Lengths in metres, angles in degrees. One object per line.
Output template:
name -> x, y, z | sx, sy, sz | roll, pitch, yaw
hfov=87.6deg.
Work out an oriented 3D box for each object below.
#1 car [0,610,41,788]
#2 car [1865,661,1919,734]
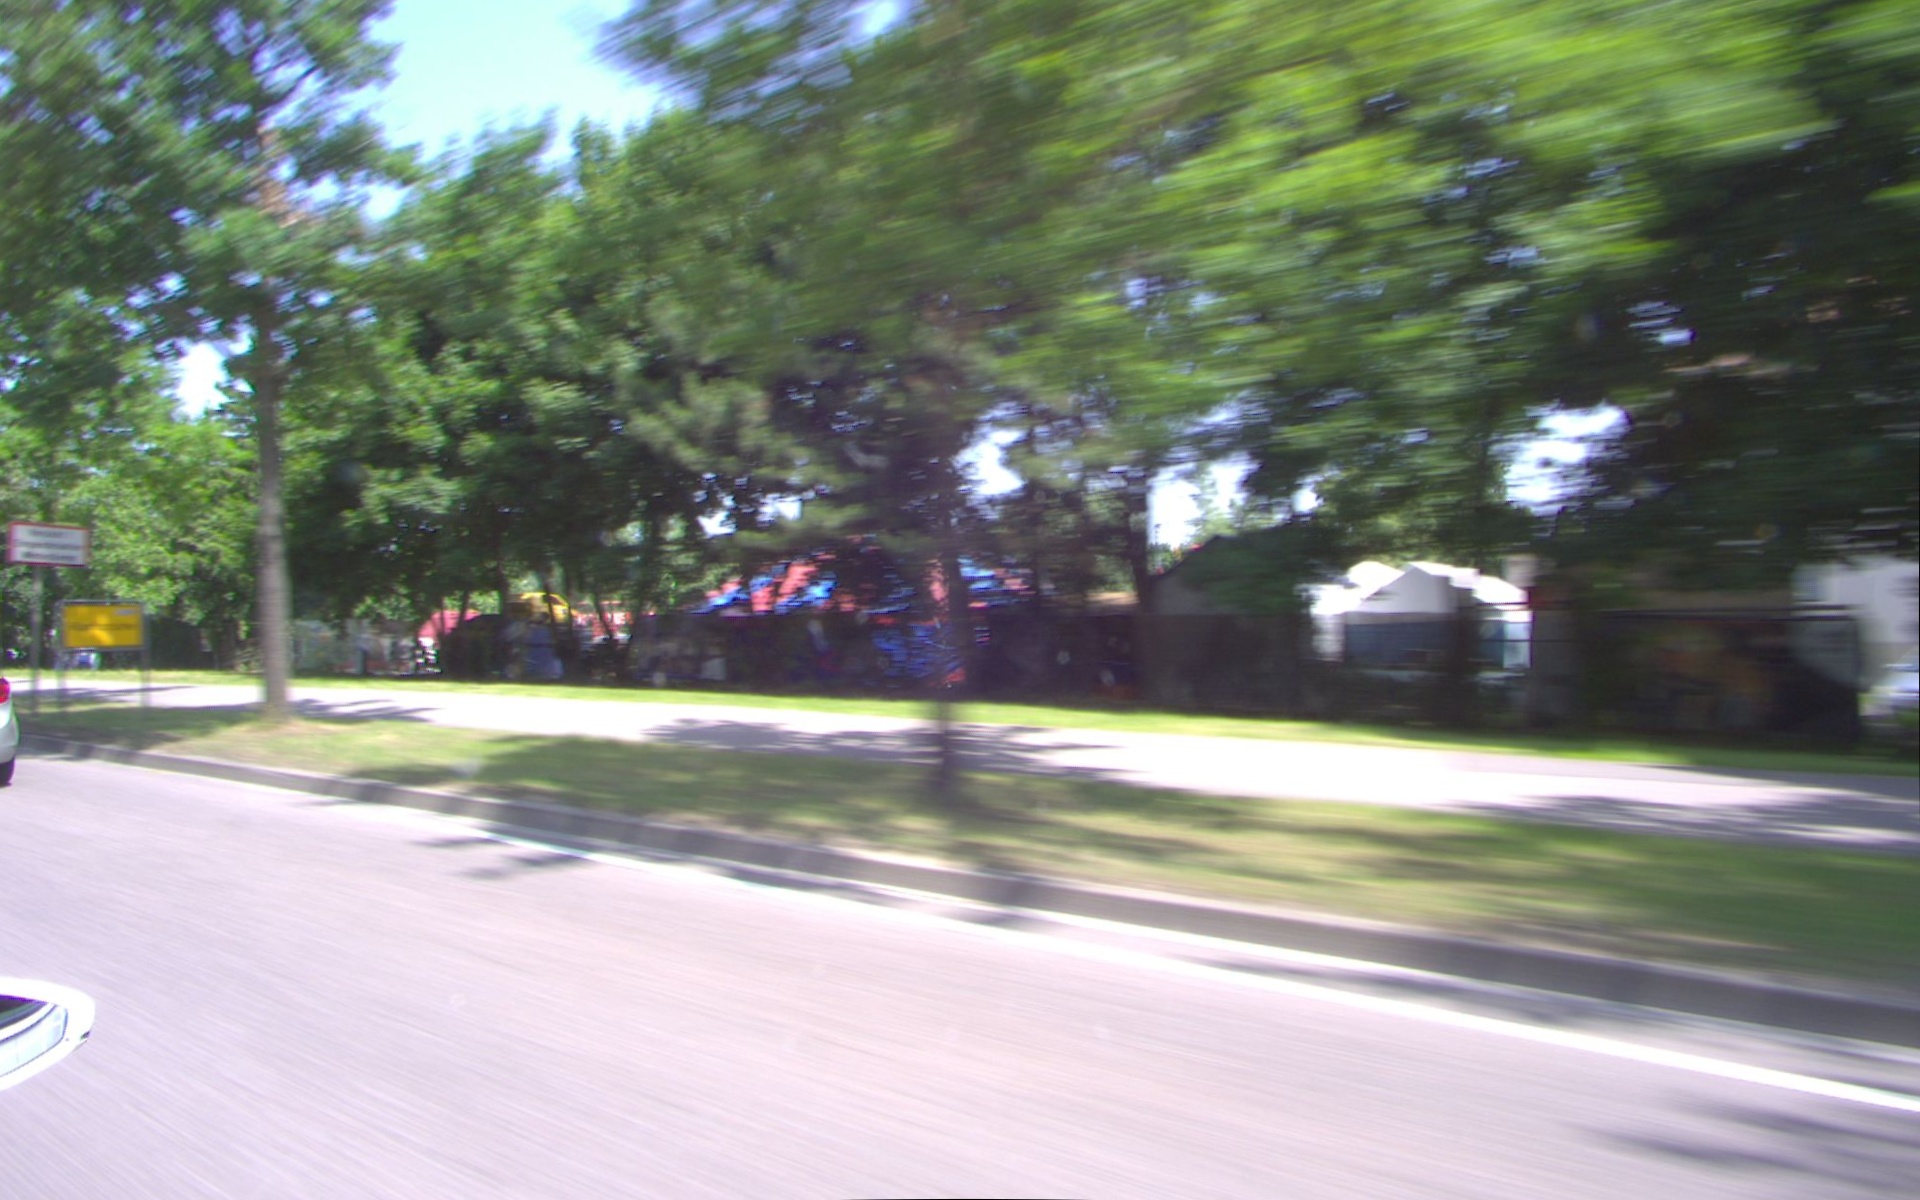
car -> -10.752, 0.913, 9.711 | 3.835, 1.632, 1.789 | -1, -1, 33
car -> 17.204, 1.704, 17.846 | 3.160, 1.104, 1.323 | 0, -1, -43
